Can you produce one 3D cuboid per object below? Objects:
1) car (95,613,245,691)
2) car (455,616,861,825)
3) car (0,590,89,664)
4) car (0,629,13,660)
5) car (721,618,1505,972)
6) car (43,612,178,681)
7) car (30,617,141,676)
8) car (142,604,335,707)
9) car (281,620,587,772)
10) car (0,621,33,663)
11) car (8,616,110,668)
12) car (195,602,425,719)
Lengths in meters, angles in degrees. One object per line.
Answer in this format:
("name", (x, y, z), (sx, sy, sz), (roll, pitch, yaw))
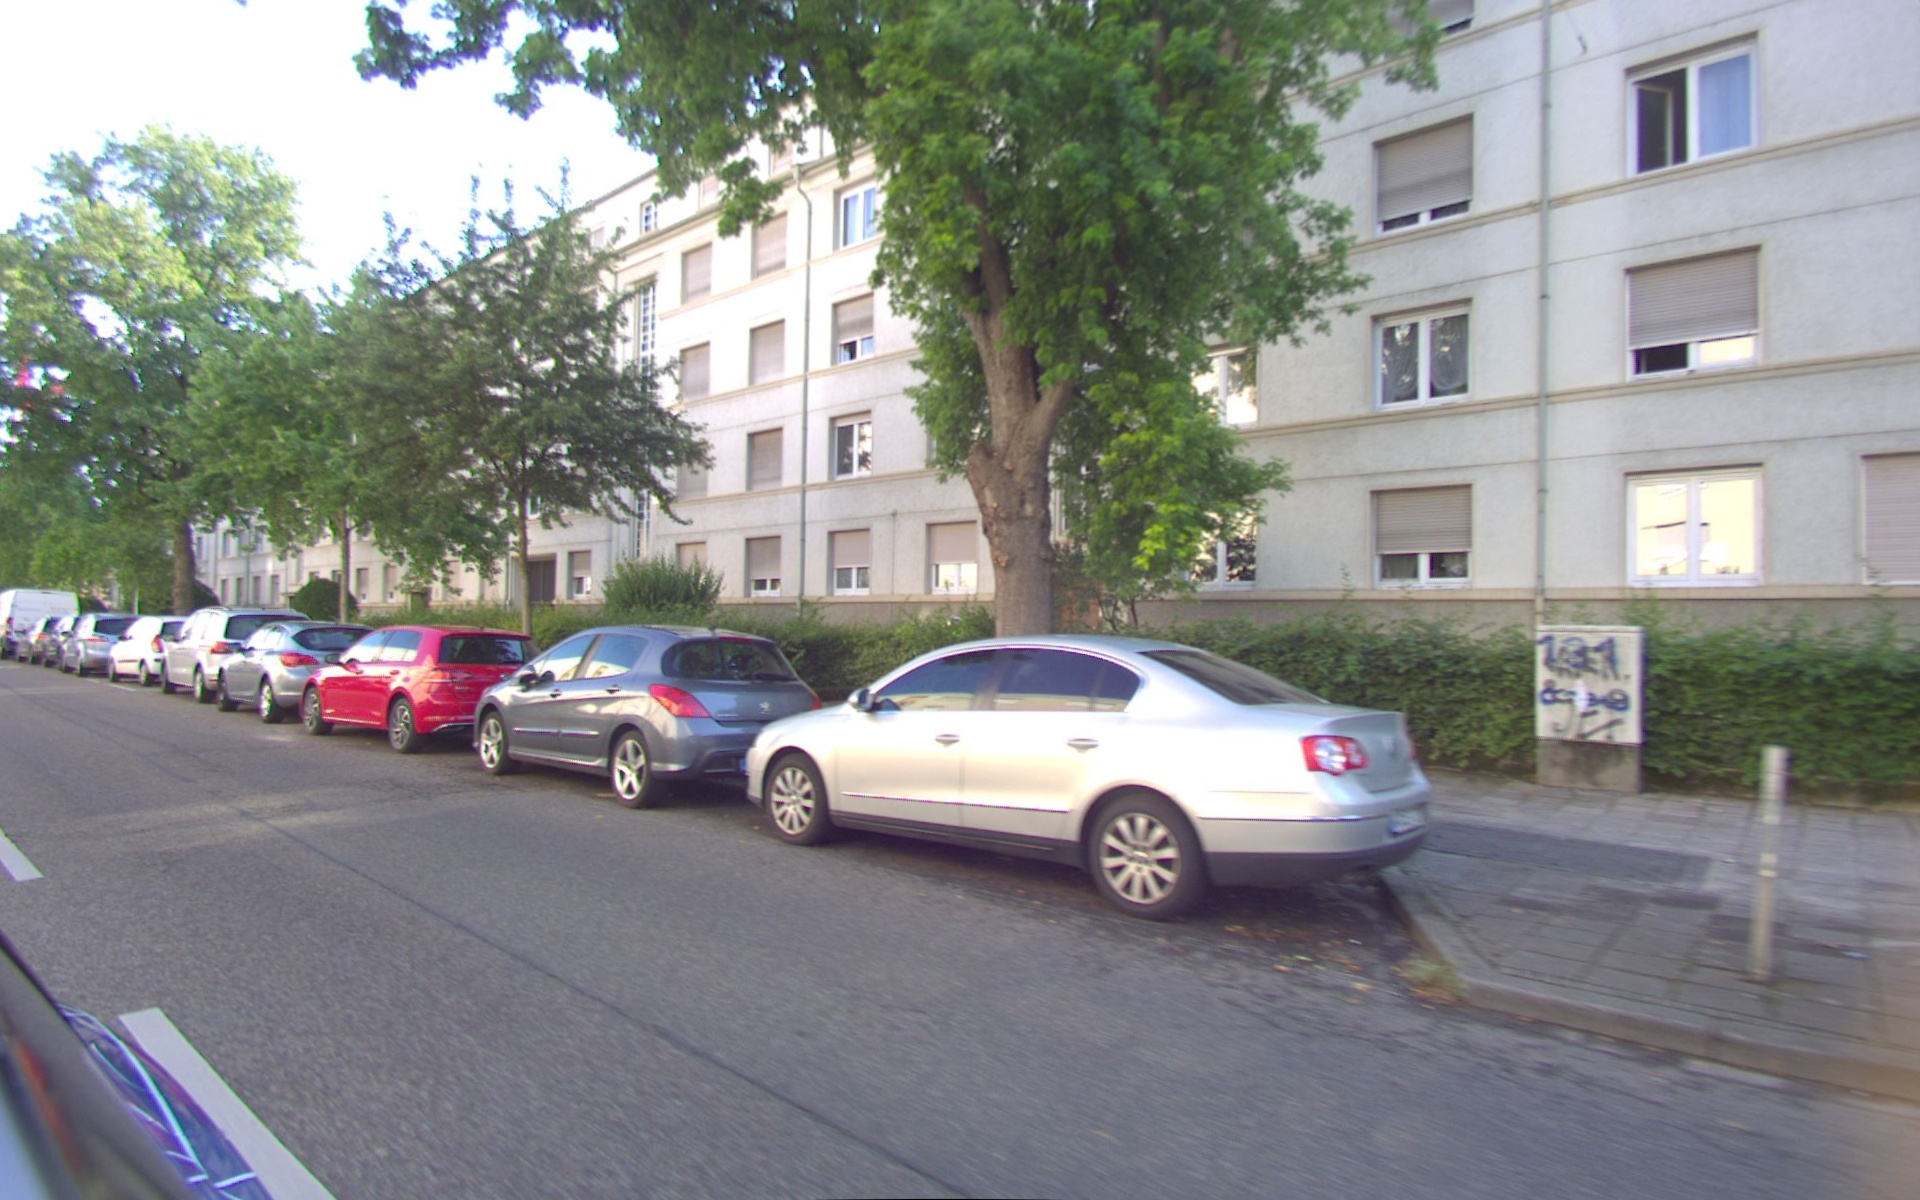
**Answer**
("car", (-18.213, 1.184, 23.263), (4.099, 1.570, 1.851), (-1, -7, 41))
("car", (-2.946, 0.911, 9.391), (4.127, 1.450, 1.686), (0, 0, 41))
("car", (-34.766, 0.982, 37.845), (6.162, 2.464, 2.333), (0, -5, 41))
("car", (-47.377, 2.173, 48.778), (4.649, 1.365, 1.855), (0, 4, 39))
("car", (0.619, 0.841, 6.378), (4.708, 1.362, 1.751), (0, 0, 41))
("car", (-22.452, 1.221, 26.678), (5.054, 1.570, 1.851), (-2, -7, 41))
("car", (-26.473, 1.372, 30.599), (4.363, 1.570, 1.851), (0, -4, 41))
("car", (-13.801, 0.945, 19.242), (4.972, 1.690, 1.896), (0, -1, 41))
("car", (-6.700, 1.119, 12.758), (3.994, 1.570, 1.853), (0, -5, 38))
("car", (-39.175, 1.680, 41.247), (3.820, 1.586, 1.688), (-2, -6, 44))
("car", (-30.200, 1.381, 33.897), (4.343, 1.570, 1.936), (0, -3, 41))
("car", (-10.223, 0.950, 15.784), (4.494, 1.570, 1.851), (-4, -4, 41))
